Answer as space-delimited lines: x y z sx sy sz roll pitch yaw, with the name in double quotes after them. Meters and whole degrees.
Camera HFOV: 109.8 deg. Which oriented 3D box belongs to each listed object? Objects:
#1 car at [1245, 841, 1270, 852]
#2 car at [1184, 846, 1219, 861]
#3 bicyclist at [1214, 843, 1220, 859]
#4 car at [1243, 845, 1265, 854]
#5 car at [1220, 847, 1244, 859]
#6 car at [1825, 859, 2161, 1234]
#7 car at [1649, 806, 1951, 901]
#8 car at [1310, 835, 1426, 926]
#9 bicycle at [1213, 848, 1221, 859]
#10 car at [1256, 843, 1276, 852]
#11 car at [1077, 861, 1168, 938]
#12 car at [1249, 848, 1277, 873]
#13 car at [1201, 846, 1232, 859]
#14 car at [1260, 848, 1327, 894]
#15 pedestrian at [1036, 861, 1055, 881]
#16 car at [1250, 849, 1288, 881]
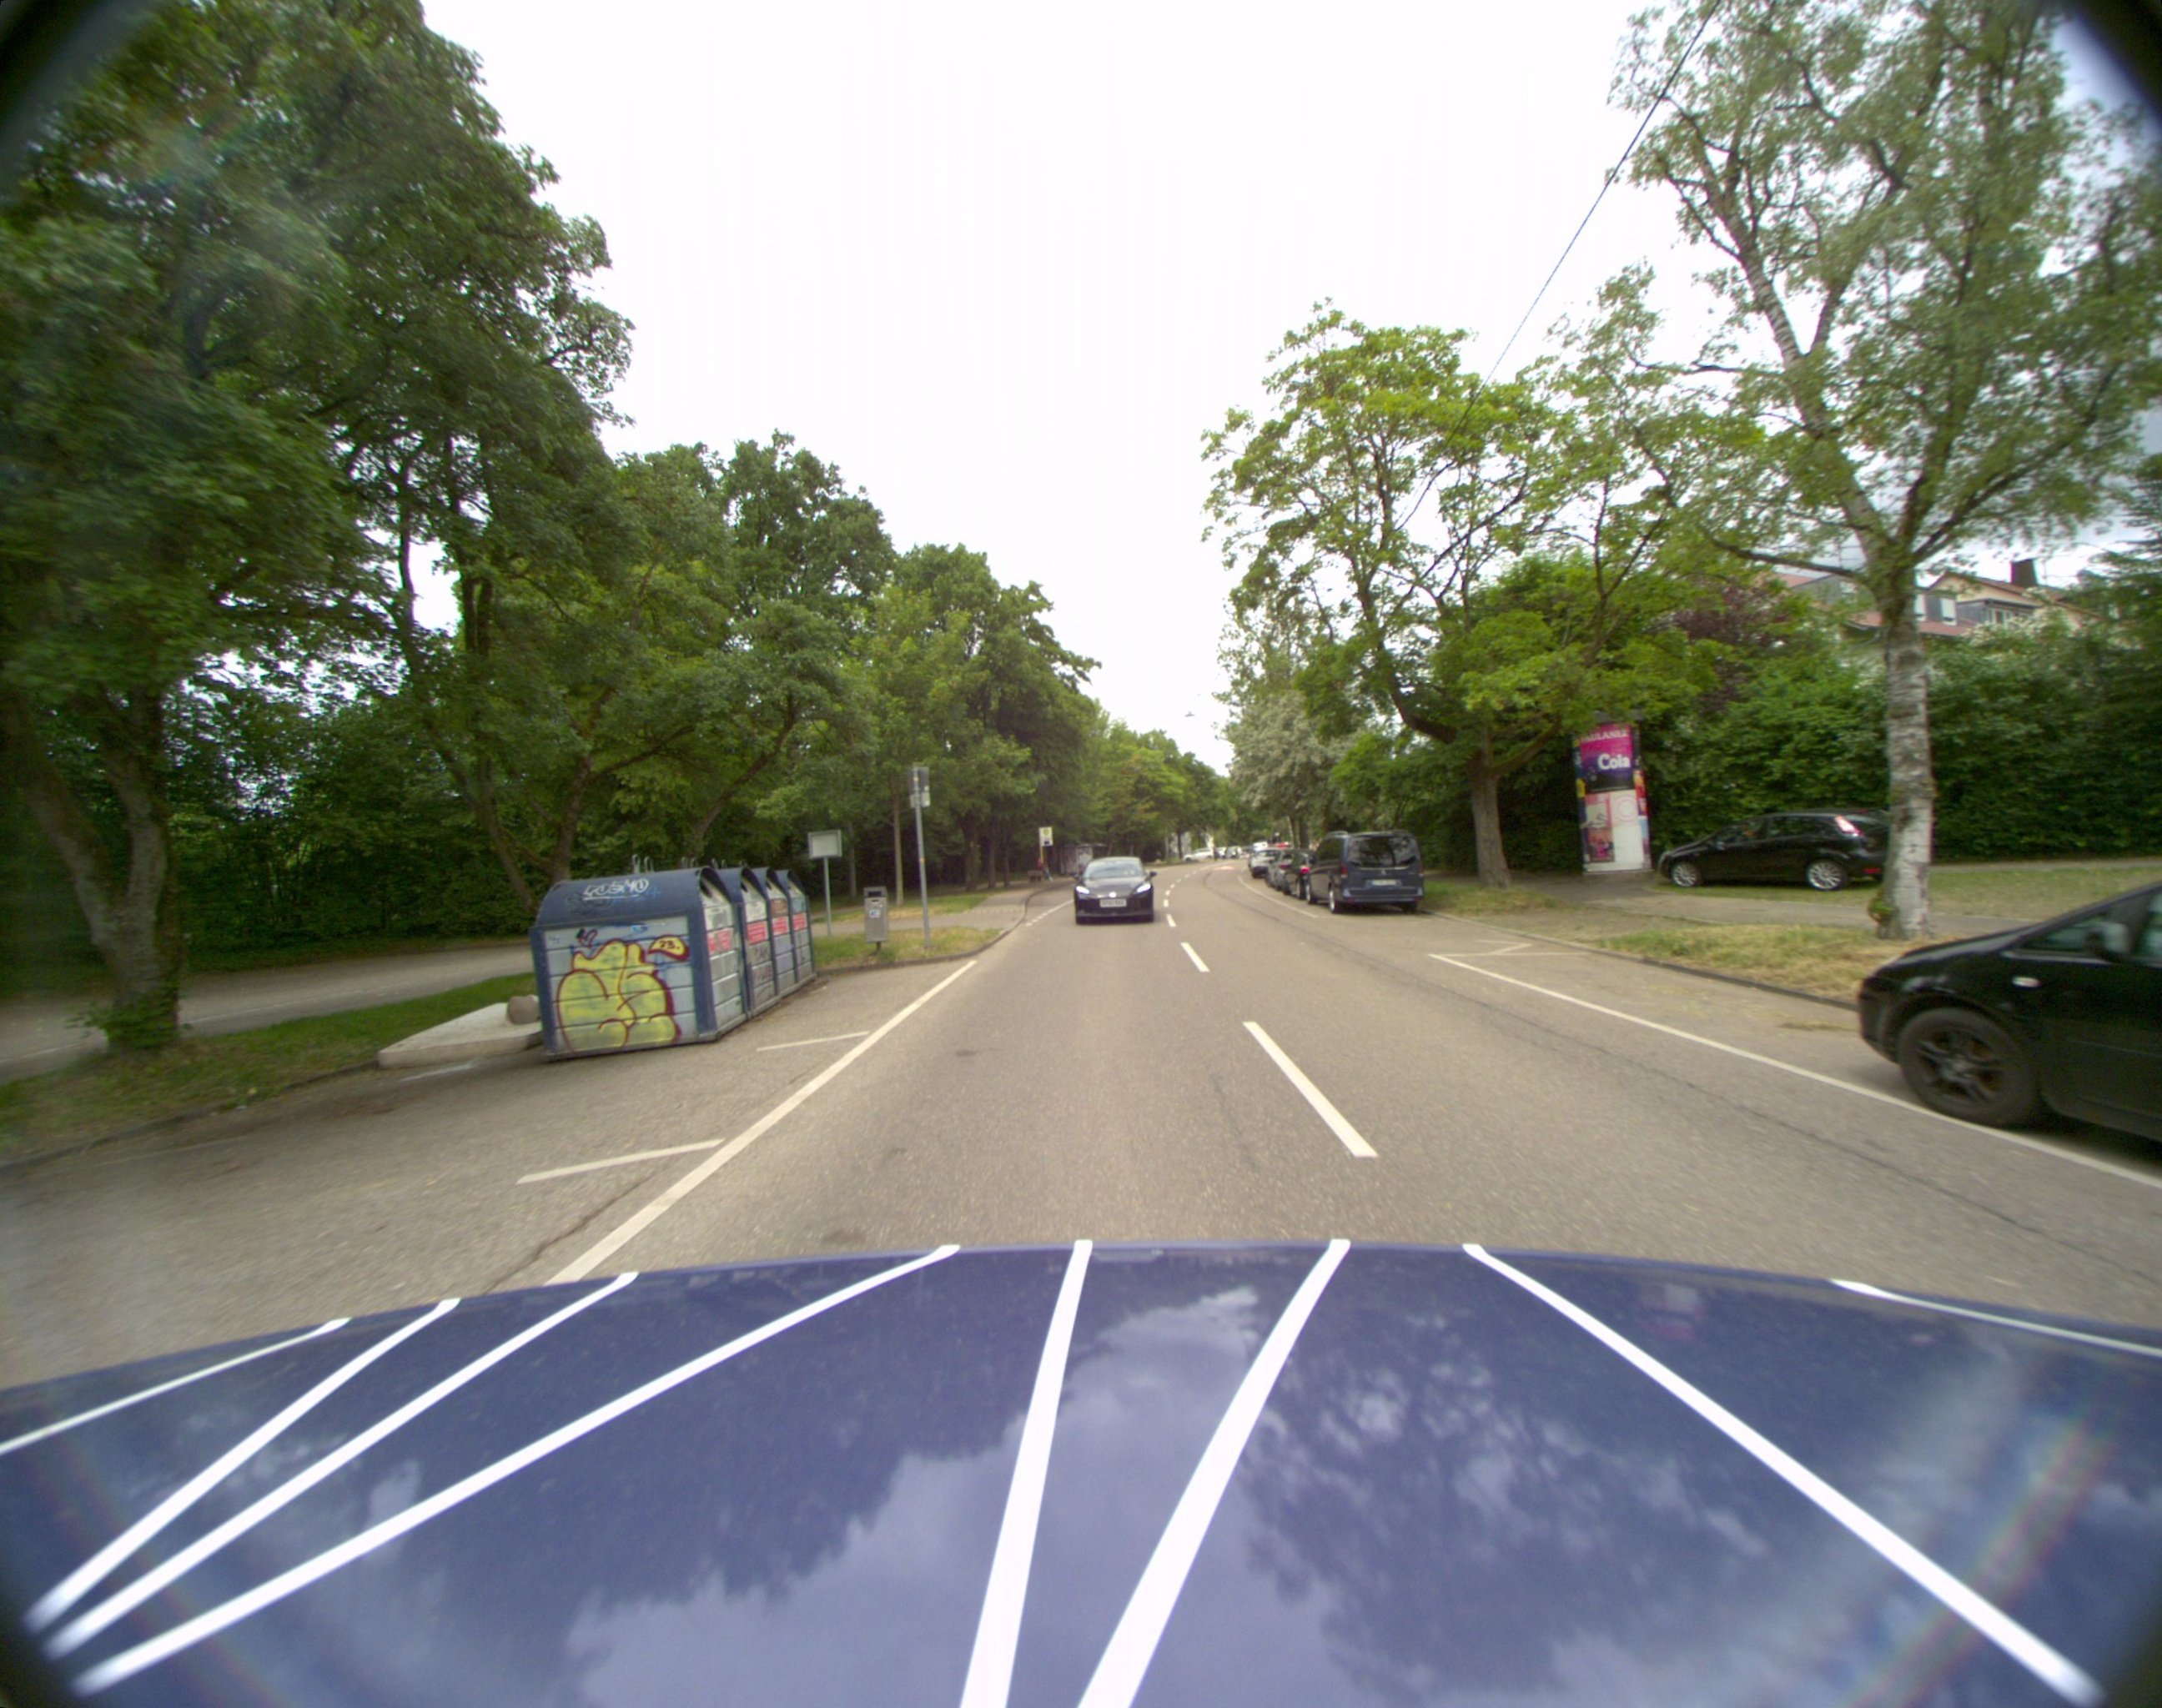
34.346 -1.459 147.799 4.219 1.748 1.859 -5 0 -1 "car"
15.955 -0.013 100.596 4.476 1.576 1.908 -5 0 11 "car"
15.278 -0.352 85.348 0.646 1.768 0.628 -3 1 12 "bicyclist"
33.065 -0.919 145.035 3.852 1.430 1.717 -5 0 10 "car"
18.739 -0.143 94.254 1.858 1.366 4.082 -4 0 24 "car"
5.439 0.825 2.541 1.809 1.554 4.267 0 0 2 "car"
14.010 0.011 15.175 1.779 1.469 3.986 -7 1 -13 "car"
7.001 0.550 19.051 1.861 1.898 5.087 -3 0 12 "car"
15.317 -0.077 85.457 0.647 1.230 1.879 -4 0 13 "bicycle"
37.239 -1.276 153.056 3.852 1.426 1.656 -5 0 10 "car"
0.903 1.005 18.409 1.813 1.484 3.792 -4 1 -1 "car"
12.499 0.424 52.070 1.738 1.529 4.193 -2 0 14 "car"
20.054 -0.227 112.574 3.997 1.455 1.866 -5 0 -1 "car"
8.082 0.599 29.247 1.870 1.529 4.229 -3 0 8 "car"
-2.259 1.077 48.475 1.065 1.175 0.580 -3 1 9 "pedestrian"
10.013 0.539 40.618 1.738 1.569 4.144 -2 0 11 "car"
